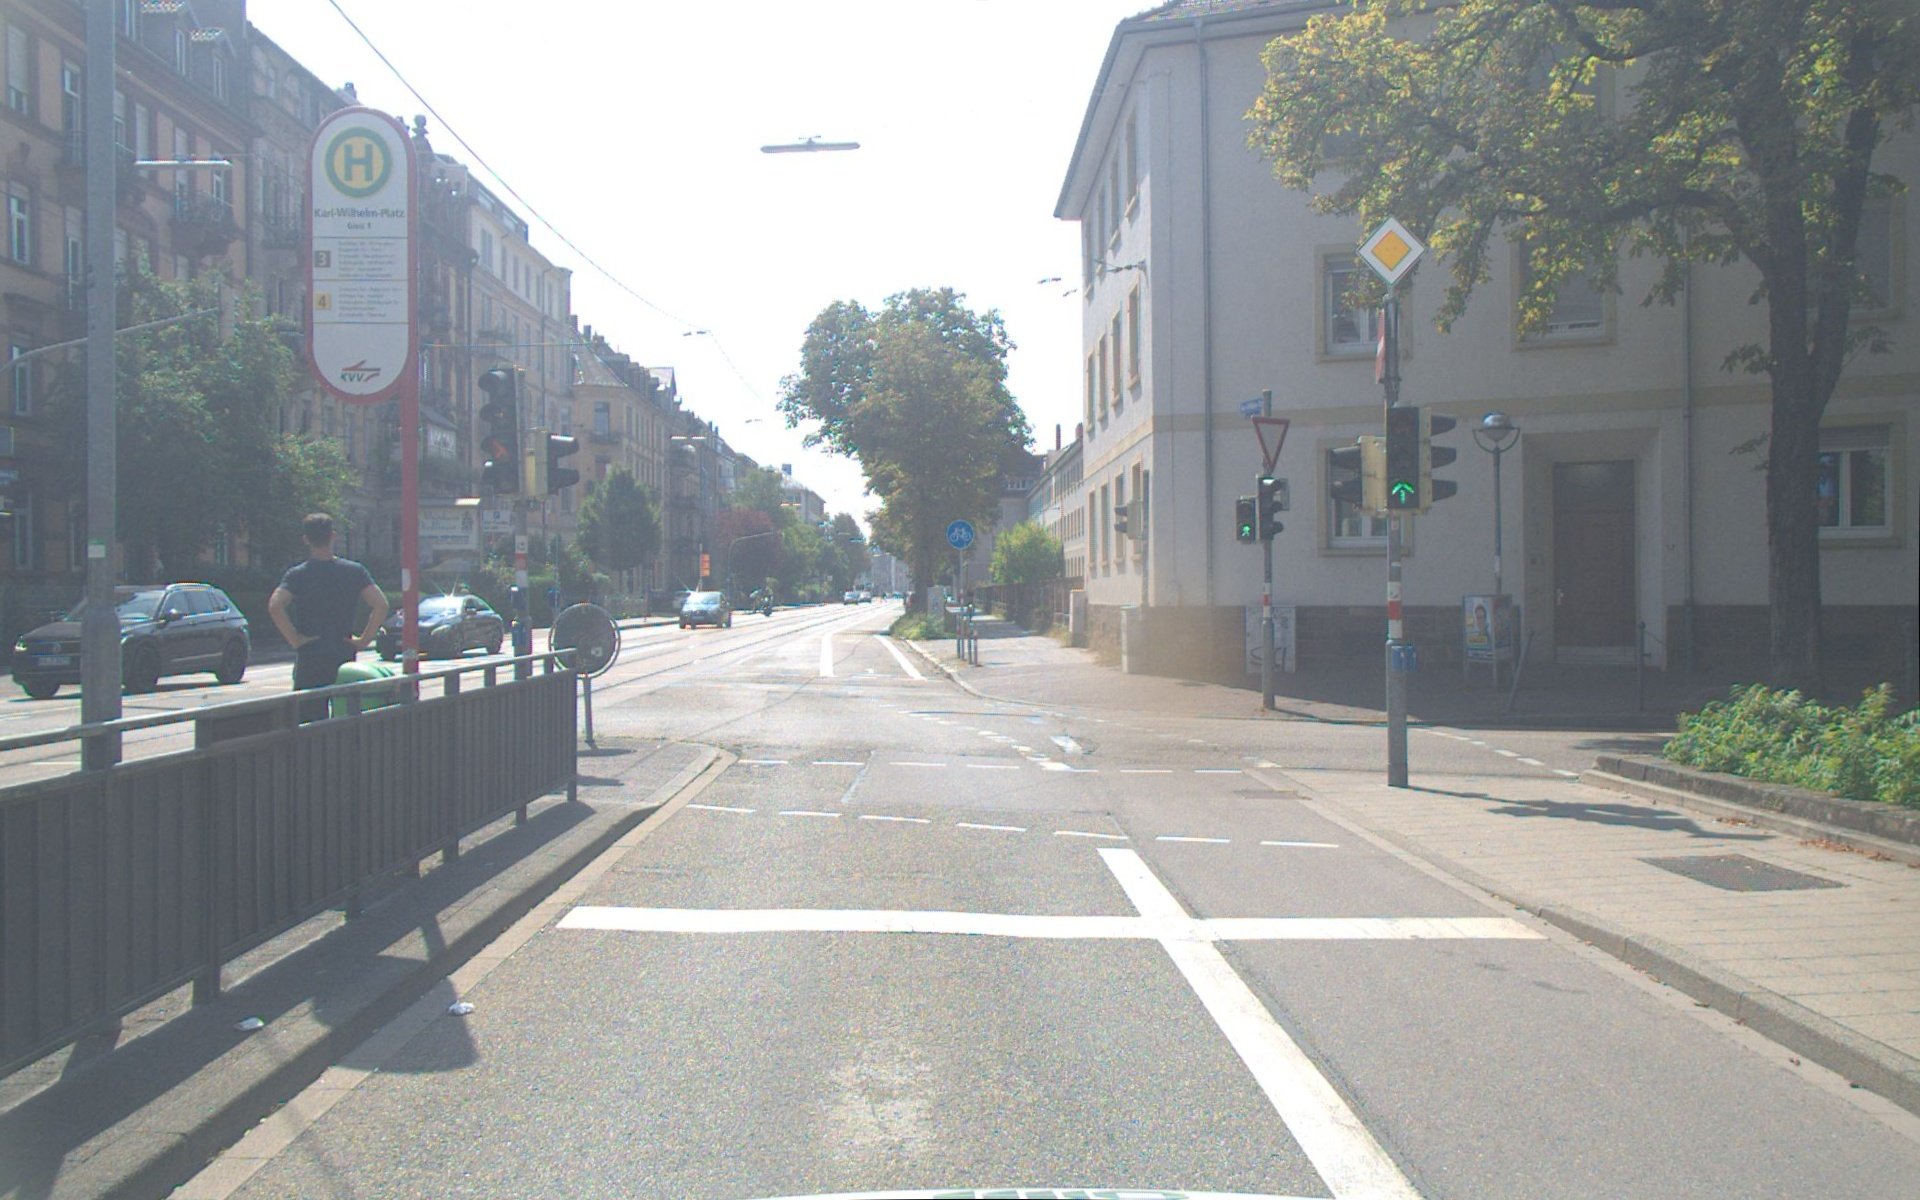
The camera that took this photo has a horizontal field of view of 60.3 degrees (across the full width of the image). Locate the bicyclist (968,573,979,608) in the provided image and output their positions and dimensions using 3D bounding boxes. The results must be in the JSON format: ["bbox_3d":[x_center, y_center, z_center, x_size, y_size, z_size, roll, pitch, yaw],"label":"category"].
[{"bbox_3d":[0.592,-0.431,73.597,0.428,1.538,0.471,0,0,-5],"label":"bicyclist"}]

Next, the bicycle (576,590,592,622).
[{"bbox_3d":[-17.165,0.282,75.494,0.382,1.430,1.582,0,0,0],"label":"bicycle"}]

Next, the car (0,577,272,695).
[{"bbox_3d":[-13.046,0.515,26.465,1.952,1.676,4.632,-1,0,2],"label":"car"}]

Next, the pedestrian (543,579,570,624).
[{"bbox_3d":[-16.190,0.042,66.358,0.865,1.786,0.870,0,0,-1],"label":"pedestrian"}]

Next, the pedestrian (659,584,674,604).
[{"bbox_3d":[-22.222,-0.441,125.072,0.875,1.537,0.860,0,0,-32],"label":"pedestrian"}]

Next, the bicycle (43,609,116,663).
[{"bbox_3d":[-17.837,0.725,33.536,0.477,1.039,1.778,0,0,2],"label":"bicycle"}]

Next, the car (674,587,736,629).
[{"bbox_3d":[-10.634,0.312,69.164,1.691,1.458,4.179,5,2,2],"label":"car"}]

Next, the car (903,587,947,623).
[{"bbox_3d":[-1.561,0.211,75.216,1.583,1.557,3.501,-1,0,5],"label":"car"}]

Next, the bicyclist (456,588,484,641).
[{"bbox_3d":[-14.067,0.417,47.502,0.569,1.496,0.776,-1,0,-1],"label":"bicyclist"}]

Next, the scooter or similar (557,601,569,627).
[{"bbox_3d":[-15.758,0.558,65.699,0.392,0.999,0.583,1,0,-9],"label":"scooter or similar"}]

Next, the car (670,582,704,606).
[{"bbox_3d":[-19.543,-0.432,118.521,1.954,1.622,4.355,-1,0,-5],"label":"car"}]

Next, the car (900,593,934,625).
[{"bbox_3d":[-2.149,0.427,83.379,1.584,1.503,4.038,-2,0,-1],"label":"car"}]

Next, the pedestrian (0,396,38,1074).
[{"bbox_3d":[-3.009,0.383,4.450,0.661,1.918,0.920,0,0,-12],"label":"pedestrian"}]

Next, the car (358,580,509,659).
[{"bbox_3d":[-12.145,0.403,38.476,1.952,1.676,4.631,-1,0,1],"label":"car"}]

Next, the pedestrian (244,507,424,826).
[{"bbox_3d":[-3.969,0.393,10.488,0.913,1.918,0.667,-1,0,-37],"label":"pedestrian"}]

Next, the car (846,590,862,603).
[{"bbox_3d":[-13.033,-0.465,203.907,1.790,1.567,3.999,-1,0,-2],"label":"car"}]

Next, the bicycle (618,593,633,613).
[{"bbox_3d":[-17.285,0.151,85.429,0.382,1.056,1.833,0,0,0],"label":"bicycle"}]

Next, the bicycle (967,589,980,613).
[{"bbox_3d":[0.608,0.043,73.402,0.431,1.065,1.827,0,0,-4],"label":"bicycle"}]

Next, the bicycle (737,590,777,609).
[{"bbox_3d":[-14.196,-0.018,115.566,2.656,1.291,1.148,-1,0,-13],"label":"bicycle"}]

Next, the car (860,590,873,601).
[{"bbox_3d":[-13.299,-0.647,235.884,1.697,1.516,3.999,-1,0,-2],"label":"car"}]

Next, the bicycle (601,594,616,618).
[{"bbox_3d":[-16.993,0.292,79.956,0.382,1.168,1.582,0,0,0],"label":"bicycle"}]

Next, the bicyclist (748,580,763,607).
[{"bbox_3d":[-14.308,-0.473,115.537,0.936,1.869,1.125,0,-1,-12],"label":"bicyclist"}]
